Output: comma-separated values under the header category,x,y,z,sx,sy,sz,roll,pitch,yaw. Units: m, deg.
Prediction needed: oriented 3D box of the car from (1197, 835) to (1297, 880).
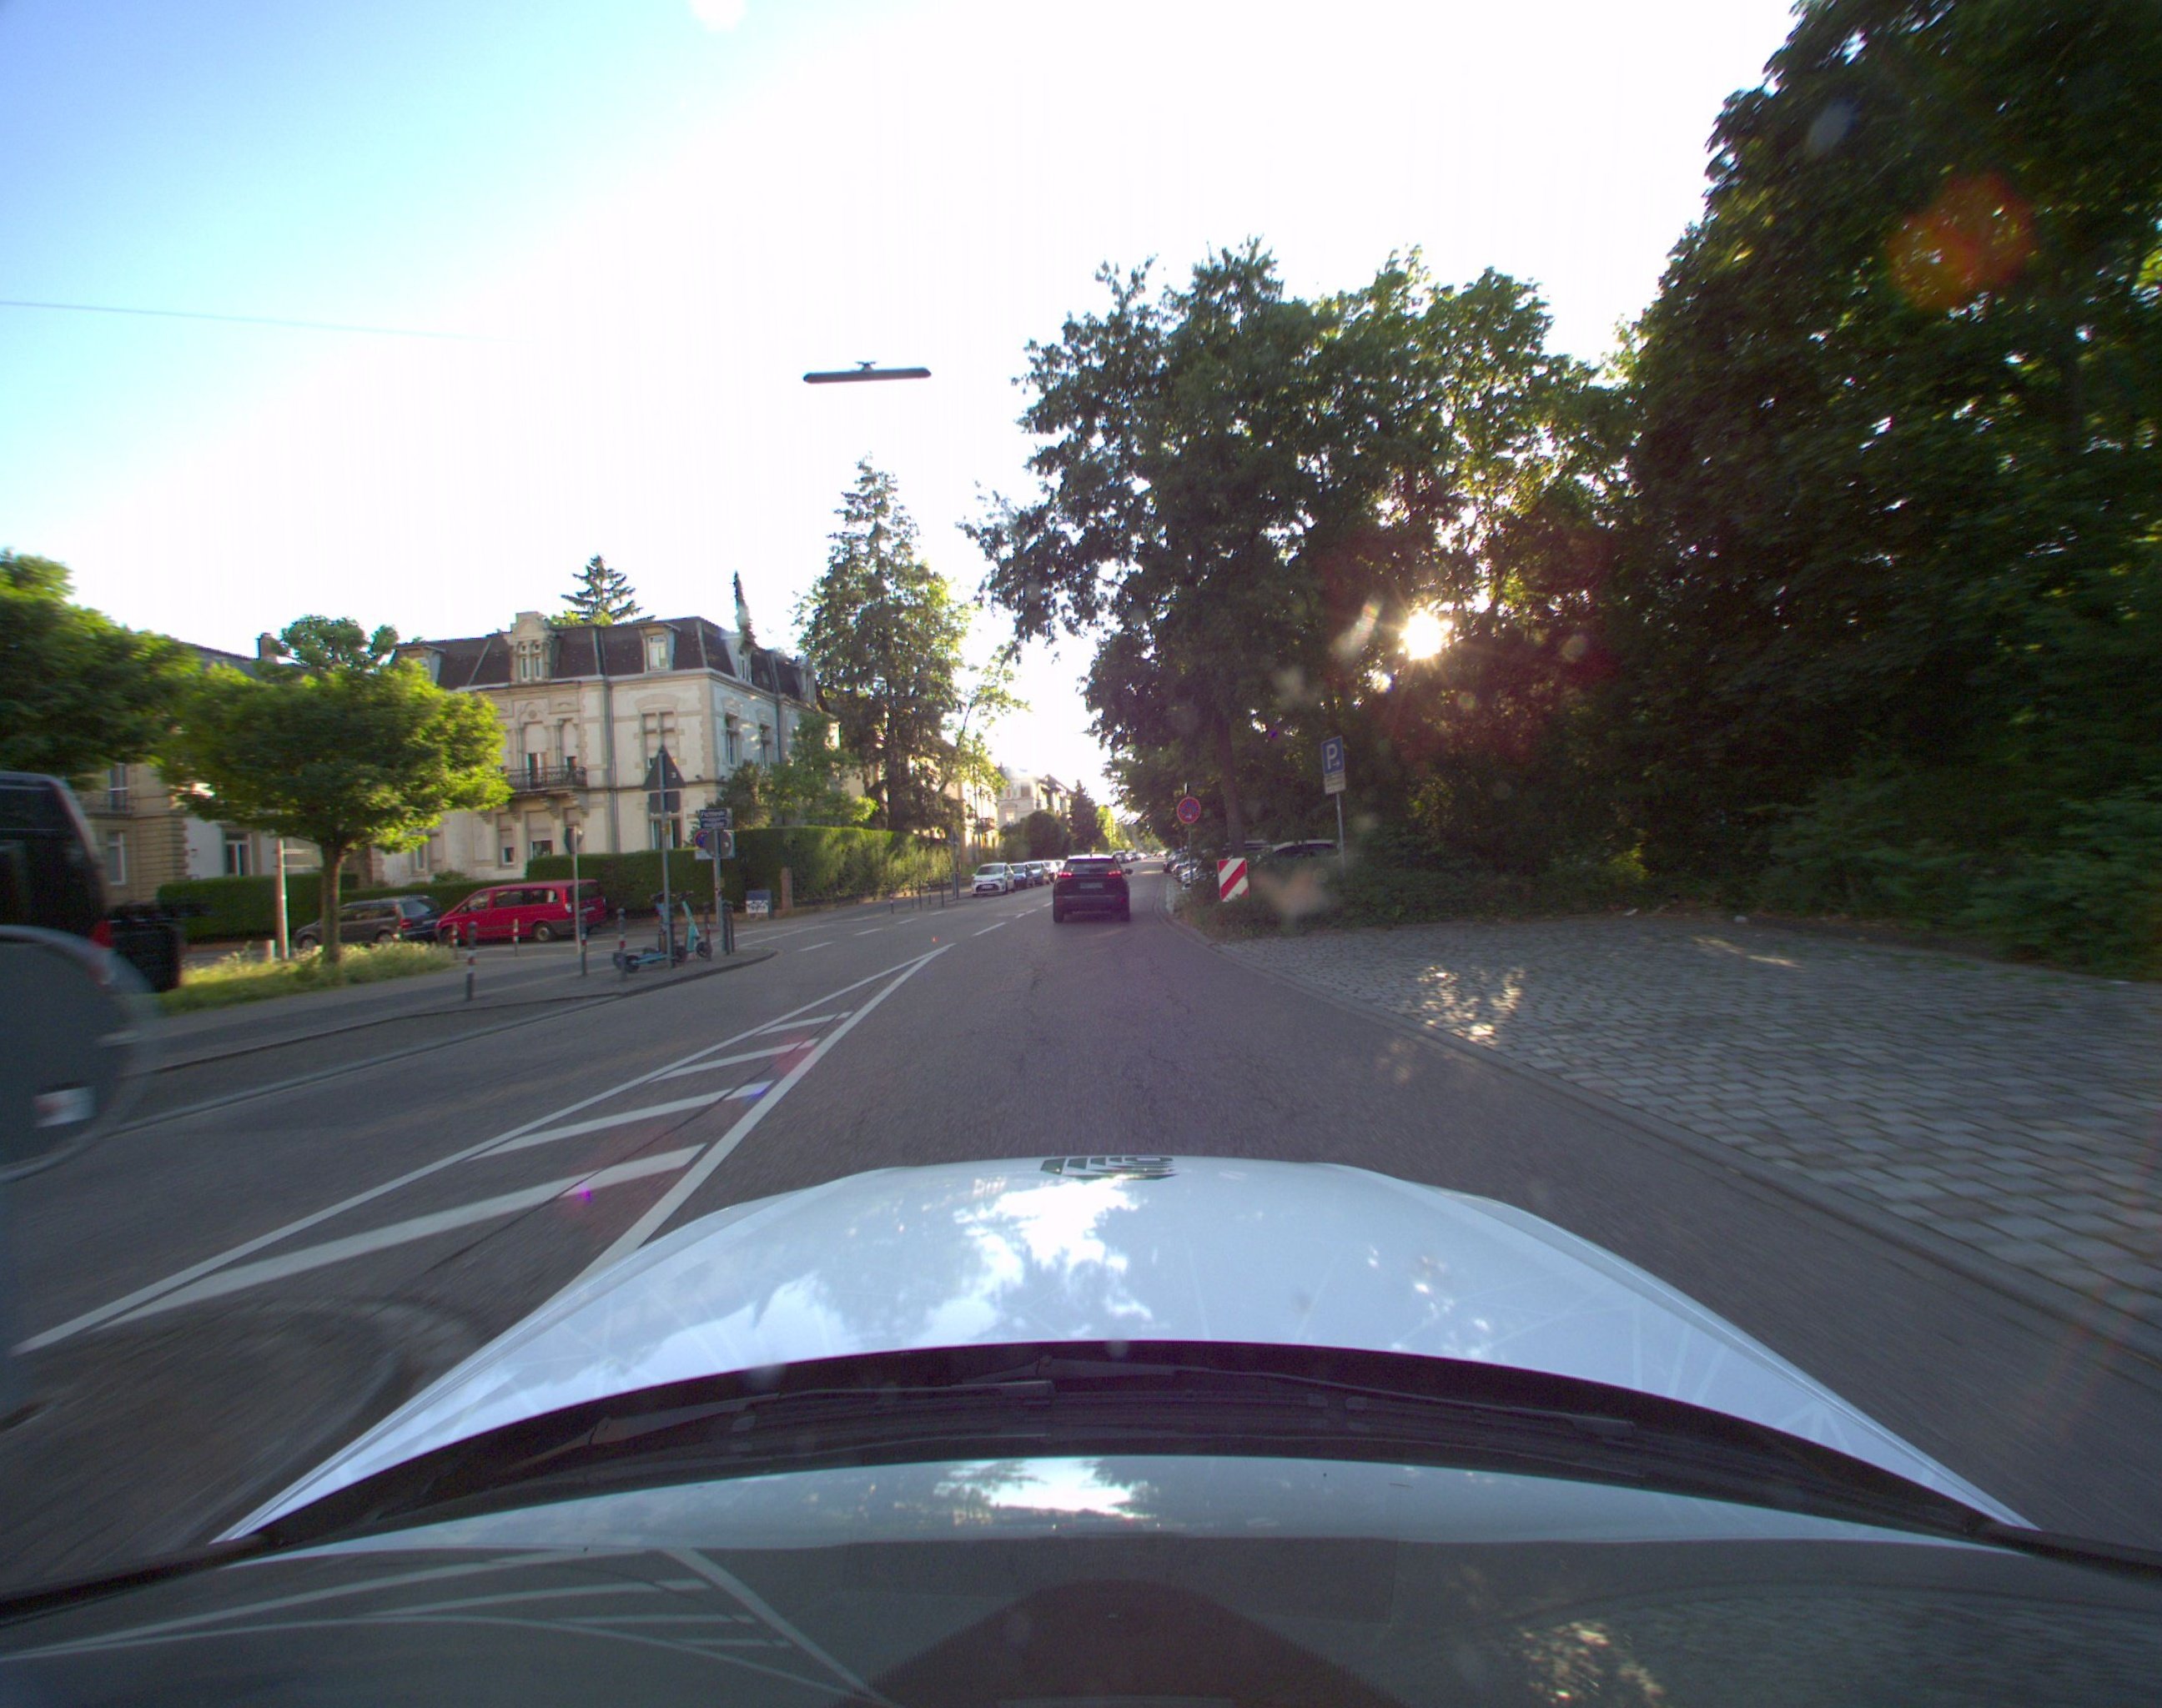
category,x,y,z,sx,sy,sz,roll,pitch,yaw
car,7.055,0.185,34.887,3.967,1.555,1.727,-4,-5,5

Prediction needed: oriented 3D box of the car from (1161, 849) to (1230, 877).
category,x,y,z,sx,sy,sz,roll,pitch,yaw
car,7.387,0.574,53.073,4.224,1.449,2.023,-5,-1,3

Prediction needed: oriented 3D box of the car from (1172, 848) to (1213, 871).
category,x,y,z,sx,sy,sz,roll,pitch,yaw
car,11.545,0.567,84.716,3.973,2.089,1.758,-3,-1,1

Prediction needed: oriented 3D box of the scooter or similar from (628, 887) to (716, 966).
category,x,y,z,sx,sy,sz,roll,pitch,yaw
scooter or similar,-7.309,1.279,14.568,1.348,1.275,0.428,-3,-1,-30

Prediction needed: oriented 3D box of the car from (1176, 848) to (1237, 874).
category,x,y,z,sx,sy,sz,roll,pitch,yaw
car,8.556,0.499,55.781,3.794,1.449,1.878,-5,-1,1

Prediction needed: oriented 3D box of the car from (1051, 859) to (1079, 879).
category,x,y,z,sx,sy,sz,roll,pitch,yaw
car,-1.249,1.177,64.880,1.605,1.466,4.043,-4,-1,6

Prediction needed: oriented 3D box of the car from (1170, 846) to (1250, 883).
category,x,y,z,sx,sy,sz,roll,pitch,yaw
car,6.751,0.529,42.968,3.968,1.554,1.728,-5,-1,5

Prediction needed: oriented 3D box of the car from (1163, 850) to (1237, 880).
category,x,y,z,sx,sy,sz,roll,pitch,yaw
car,7.022,0.641,48.027,4.133,1.449,1.735,-5,-1,9

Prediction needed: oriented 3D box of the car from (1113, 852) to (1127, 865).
category,x,y,z,sx,sy,sz,roll,pitch,yaw
car,6.578,0.790,136.836,1.983,2.013,4.008,-3,-1,7

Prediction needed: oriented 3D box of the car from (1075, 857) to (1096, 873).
category,x,y,z,sx,sy,sz,roll,pitch,yaw
car,0.443,1.087,81.653,1.744,1.413,3.769,-5,0,4

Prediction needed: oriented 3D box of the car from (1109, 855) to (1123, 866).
category,x,y,z,sx,sy,sz,roll,pitch,yaw
car,5.438,0.935,126.479,1.890,1.574,4.006,-3,-1,5

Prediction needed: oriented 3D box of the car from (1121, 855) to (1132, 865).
category,x,y,z,sx,sy,sz,roll,pitch,yaw
car,9.229,1.202,164.402,1.984,1.816,4.006,-3,-1,5

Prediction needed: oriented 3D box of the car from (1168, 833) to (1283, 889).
category,x,y,z,sx,sy,sz,roll,pitch,yaw
car,5.727,0.284,32.836,4.287,1.804,2.038,-5,-1,4

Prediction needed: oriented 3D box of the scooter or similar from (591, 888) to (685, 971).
category,x,y,z,sx,sy,sz,roll,pitch,yaw
scooter or similar,-7.543,1.265,13.898,1.348,1.275,0.428,-3,-1,-30

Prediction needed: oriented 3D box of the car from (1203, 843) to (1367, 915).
category,x,y,z,sx,sy,sz,roll,pitch,yaw
car,5.354,0.644,21.779,3.967,1.554,1.728,-4,1,5

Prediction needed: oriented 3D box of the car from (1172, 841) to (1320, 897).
category,x,y,z,sx,sy,sz,roll,pitch,yaw
car,5.504,0.484,27.447,4.478,1.554,1.853,-4,0,-6

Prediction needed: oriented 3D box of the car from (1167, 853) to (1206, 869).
category,x,y,z,sx,sy,sz,roll,pitch,yaw
car,11.326,0.758,87.504,3.973,1.526,1.758,-3,-1,1

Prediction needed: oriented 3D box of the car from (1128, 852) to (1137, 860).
category,x,y,z,sx,sy,sz,roll,pitch,yaw
car,11.825,0.456,187.289,1.984,1.816,4.006,-3,-1,5

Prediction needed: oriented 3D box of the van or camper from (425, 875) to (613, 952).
category,x,y,z,sx,sy,sz,roll,pitch,yaw
van or camper,-18.335,1.909,26.697,4.742,1.985,2.005,-4,4,7

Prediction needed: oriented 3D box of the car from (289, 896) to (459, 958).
category,x,y,z,sx,sy,sz,roll,pitch,yaw
car,-23.365,2.384,27.018,3.969,1.673,1.922,-3,0,4

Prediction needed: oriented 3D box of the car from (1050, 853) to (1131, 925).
category,x,y,z,sx,sy,sz,roll,pitch,yaw
car,0.208,0.776,20.049,1.766,1.568,4.107,-1,0,0

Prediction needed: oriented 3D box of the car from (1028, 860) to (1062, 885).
category,x,y,z,sx,sy,sz,roll,pitch,yaw
car,-2.360,1.216,54.728,1.605,1.466,4.043,-4,-1,6

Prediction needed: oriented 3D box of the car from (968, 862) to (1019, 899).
category,x,y,z,sx,sy,sz,roll,pitch,yaw
car,-4.085,1.215,38.558,1.606,1.515,3.716,-5,-1,4

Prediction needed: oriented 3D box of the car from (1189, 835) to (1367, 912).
category,x,y,z,sx,sy,sz,roll,pitch,yaw
car,4.716,0.465,19.987,3.967,1.554,1.728,-4,-1,5

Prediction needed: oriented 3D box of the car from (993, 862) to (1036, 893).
category,x,y,z,sx,sy,sz,roll,pitch,yaw
car,-3.567,1.224,44.228,1.606,1.485,3.747,-4,-1,5

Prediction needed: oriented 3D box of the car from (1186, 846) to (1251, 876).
category,x,y,z,sx,sy,sz,roll,pitch,yaw
car,8.452,0.429,50.289,3.786,1.449,1.831,-5,-1,9

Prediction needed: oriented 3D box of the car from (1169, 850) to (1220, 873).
category,x,y,z,sx,sy,sz,roll,pitch,yaw
car,9.071,0.595,65.237,3.794,1.449,1.827,-5,-1,1

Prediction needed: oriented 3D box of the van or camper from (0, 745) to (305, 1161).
category,x,y,z,sx,sy,sz,roll,pitch,yaw
van or camper,-7.910,0.628,3.313,2.219,2.544,7.090,-2,-1,5

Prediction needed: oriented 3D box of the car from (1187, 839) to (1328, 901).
category,x,y,z,sx,sy,sz,roll,pitch,yaw
car,5.339,0.470,25.060,3.967,1.554,1.755,-4,1,5

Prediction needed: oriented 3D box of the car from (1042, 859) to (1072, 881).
category,x,y,z,sx,sy,sz,roll,pitch,yaw
car,-1.732,1.148,60.271,1.605,1.466,4.043,-4,-1,6

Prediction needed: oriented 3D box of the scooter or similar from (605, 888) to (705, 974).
category,x,y,z,sx,sy,sz,roll,pitch,yaw
scooter or similar,-7.026,1.241,13.480,0.426,1.275,1.352,-4,-1,41

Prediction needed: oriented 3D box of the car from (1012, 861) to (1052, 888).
category,x,y,z,sx,sy,sz,roll,pitch,yaw
car,-2.894,1.204,48.969,1.605,1.466,4.043,-4,-1,6
